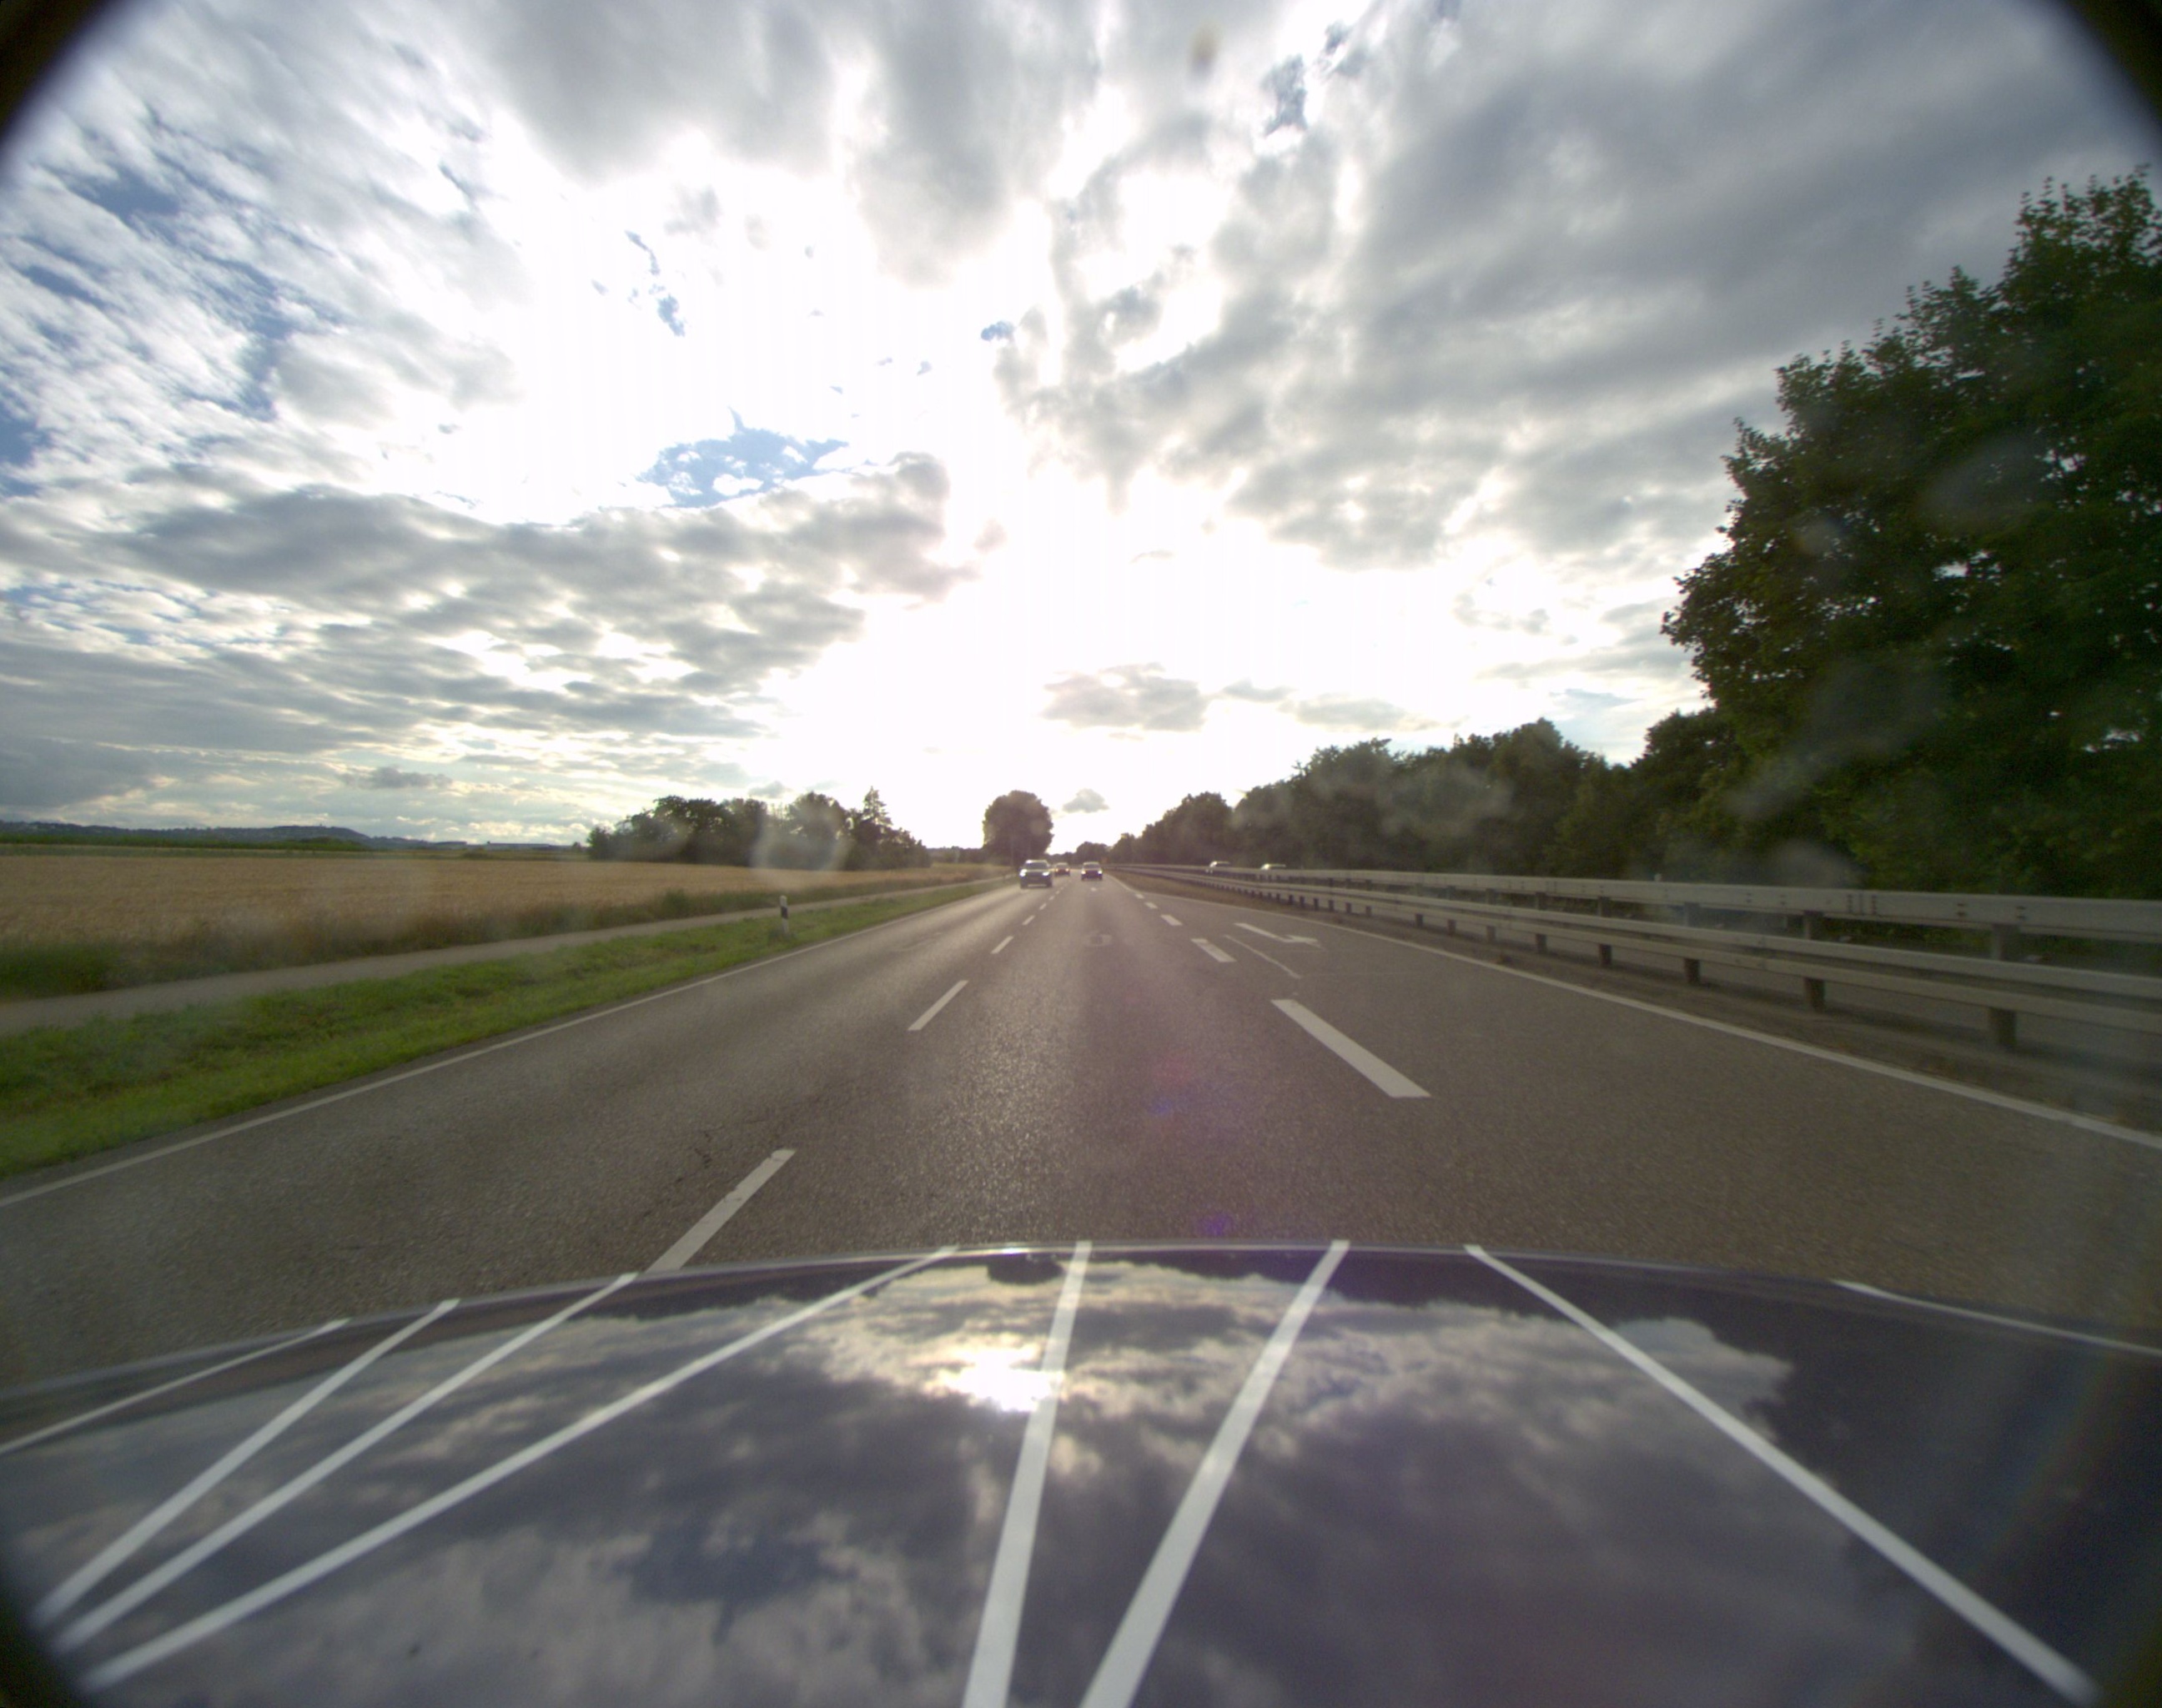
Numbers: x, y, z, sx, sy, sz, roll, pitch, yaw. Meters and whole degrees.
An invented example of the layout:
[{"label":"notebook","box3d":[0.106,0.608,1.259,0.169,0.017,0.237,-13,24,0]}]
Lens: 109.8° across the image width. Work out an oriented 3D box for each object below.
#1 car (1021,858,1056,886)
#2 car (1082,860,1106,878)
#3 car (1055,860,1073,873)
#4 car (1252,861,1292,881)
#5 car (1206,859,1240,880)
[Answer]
[{"label":"car","box3d":[-2.615,1.123,47.804,1.863,1.636,4.000,-1,0,1]},{"label":"car","box3d":[1.013,1.200,61.248,1.775,1.388,4.000,-1,0,0]},{"label":"car","box3d":[-1.917,1.357,86.072,1.823,1.409,4.000,-1,0,0]},{"label":"car","box3d":[13.627,1.205,54.432,1.763,1.404,4.459,0,-1,0]},{"label":"car","box3d":[10.113,1.090,54.285,1.773,1.459,3.712,0,-1,0]}]
